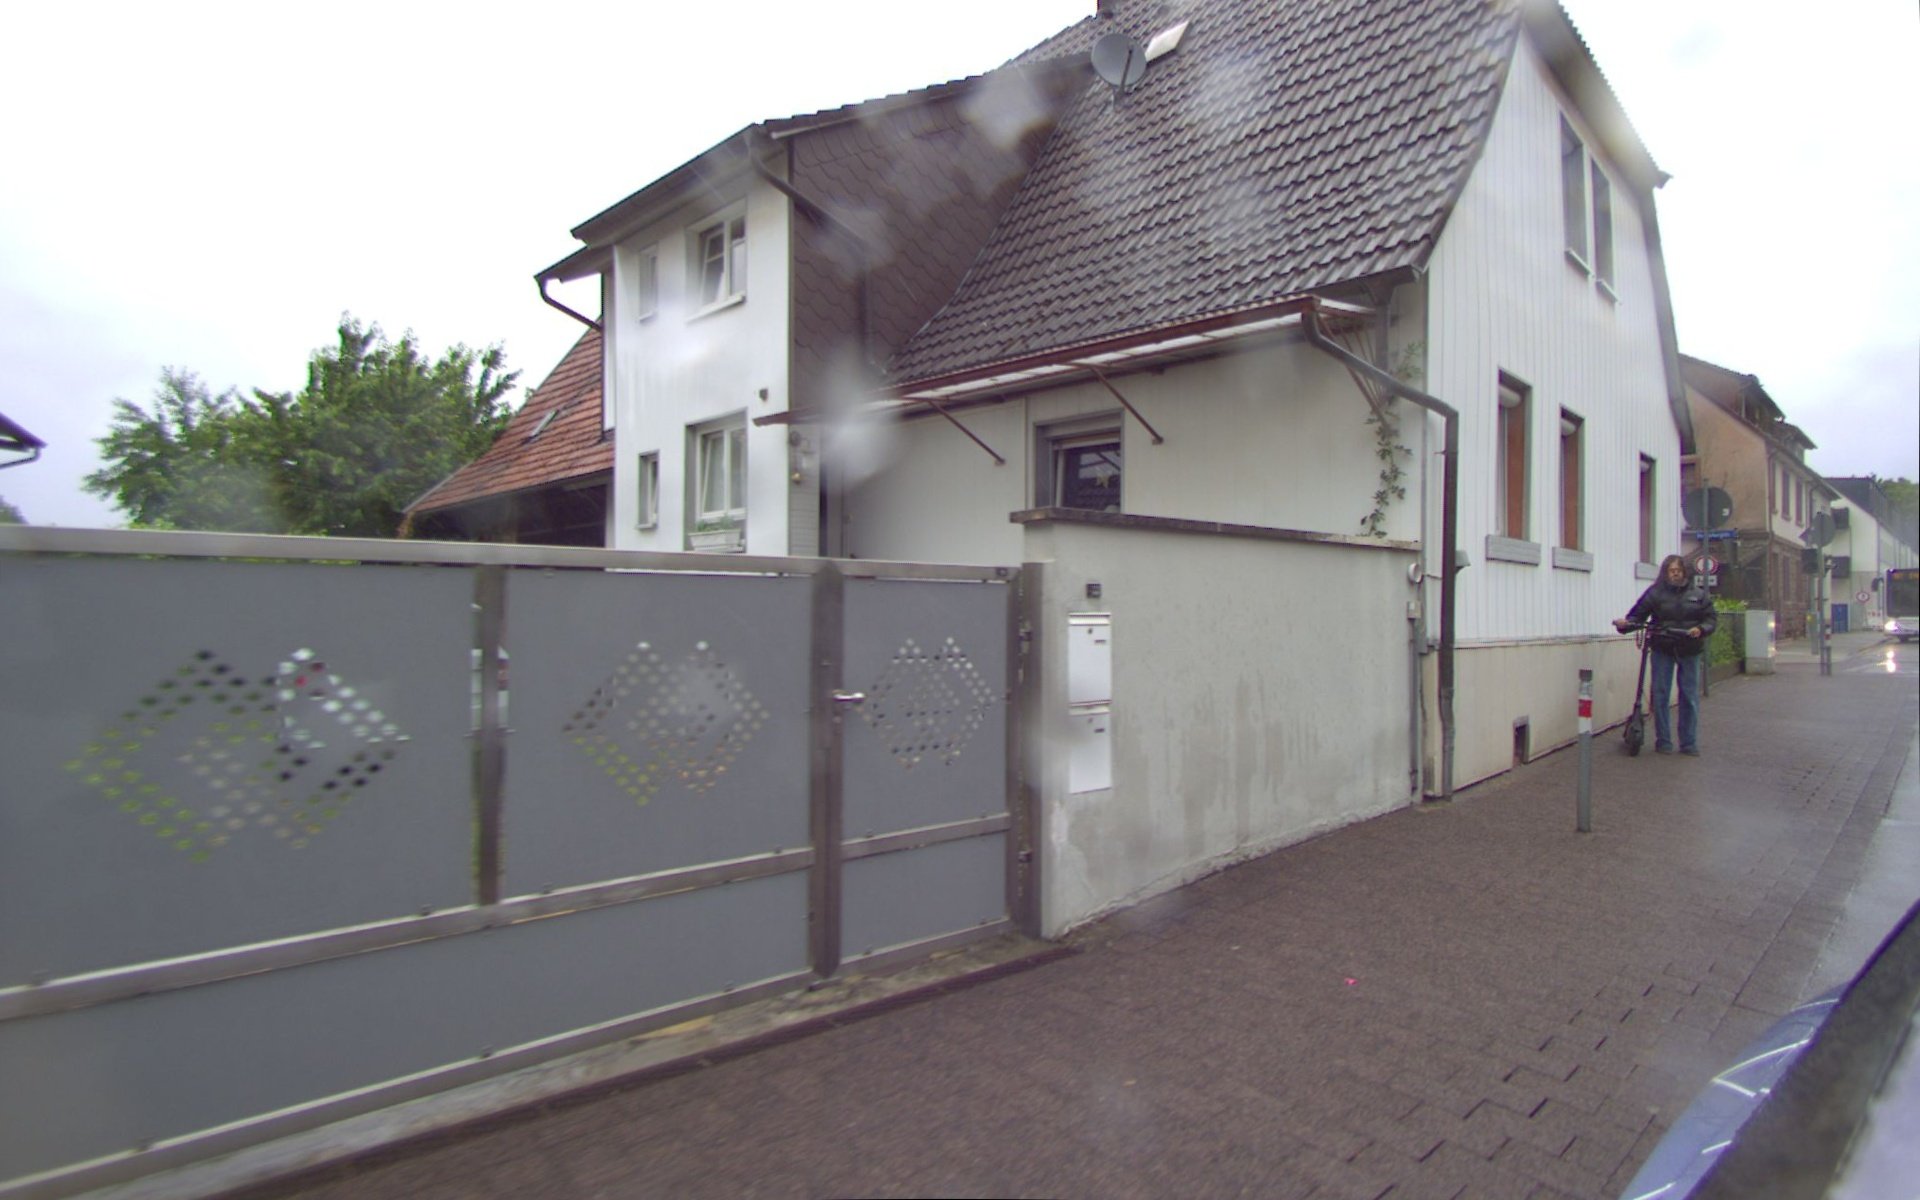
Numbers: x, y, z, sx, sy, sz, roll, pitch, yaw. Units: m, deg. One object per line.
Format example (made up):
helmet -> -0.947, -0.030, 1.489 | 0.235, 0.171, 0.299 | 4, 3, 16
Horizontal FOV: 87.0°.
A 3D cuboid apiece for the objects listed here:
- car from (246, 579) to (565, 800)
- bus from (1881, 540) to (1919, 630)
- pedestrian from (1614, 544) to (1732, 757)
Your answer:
car -> -4.951, 0.641, 8.791 | 1.709, 1.477, 3.705 | -1, -1, -40
bus -> 42.912, -0.647, 42.837 | 13.616, 3.455, 3.440 | -1, 0, -38
pedestrian -> 6.255, 0.413, 8.875 | 0.807, 1.754, 0.694 | 0, -1, -45
